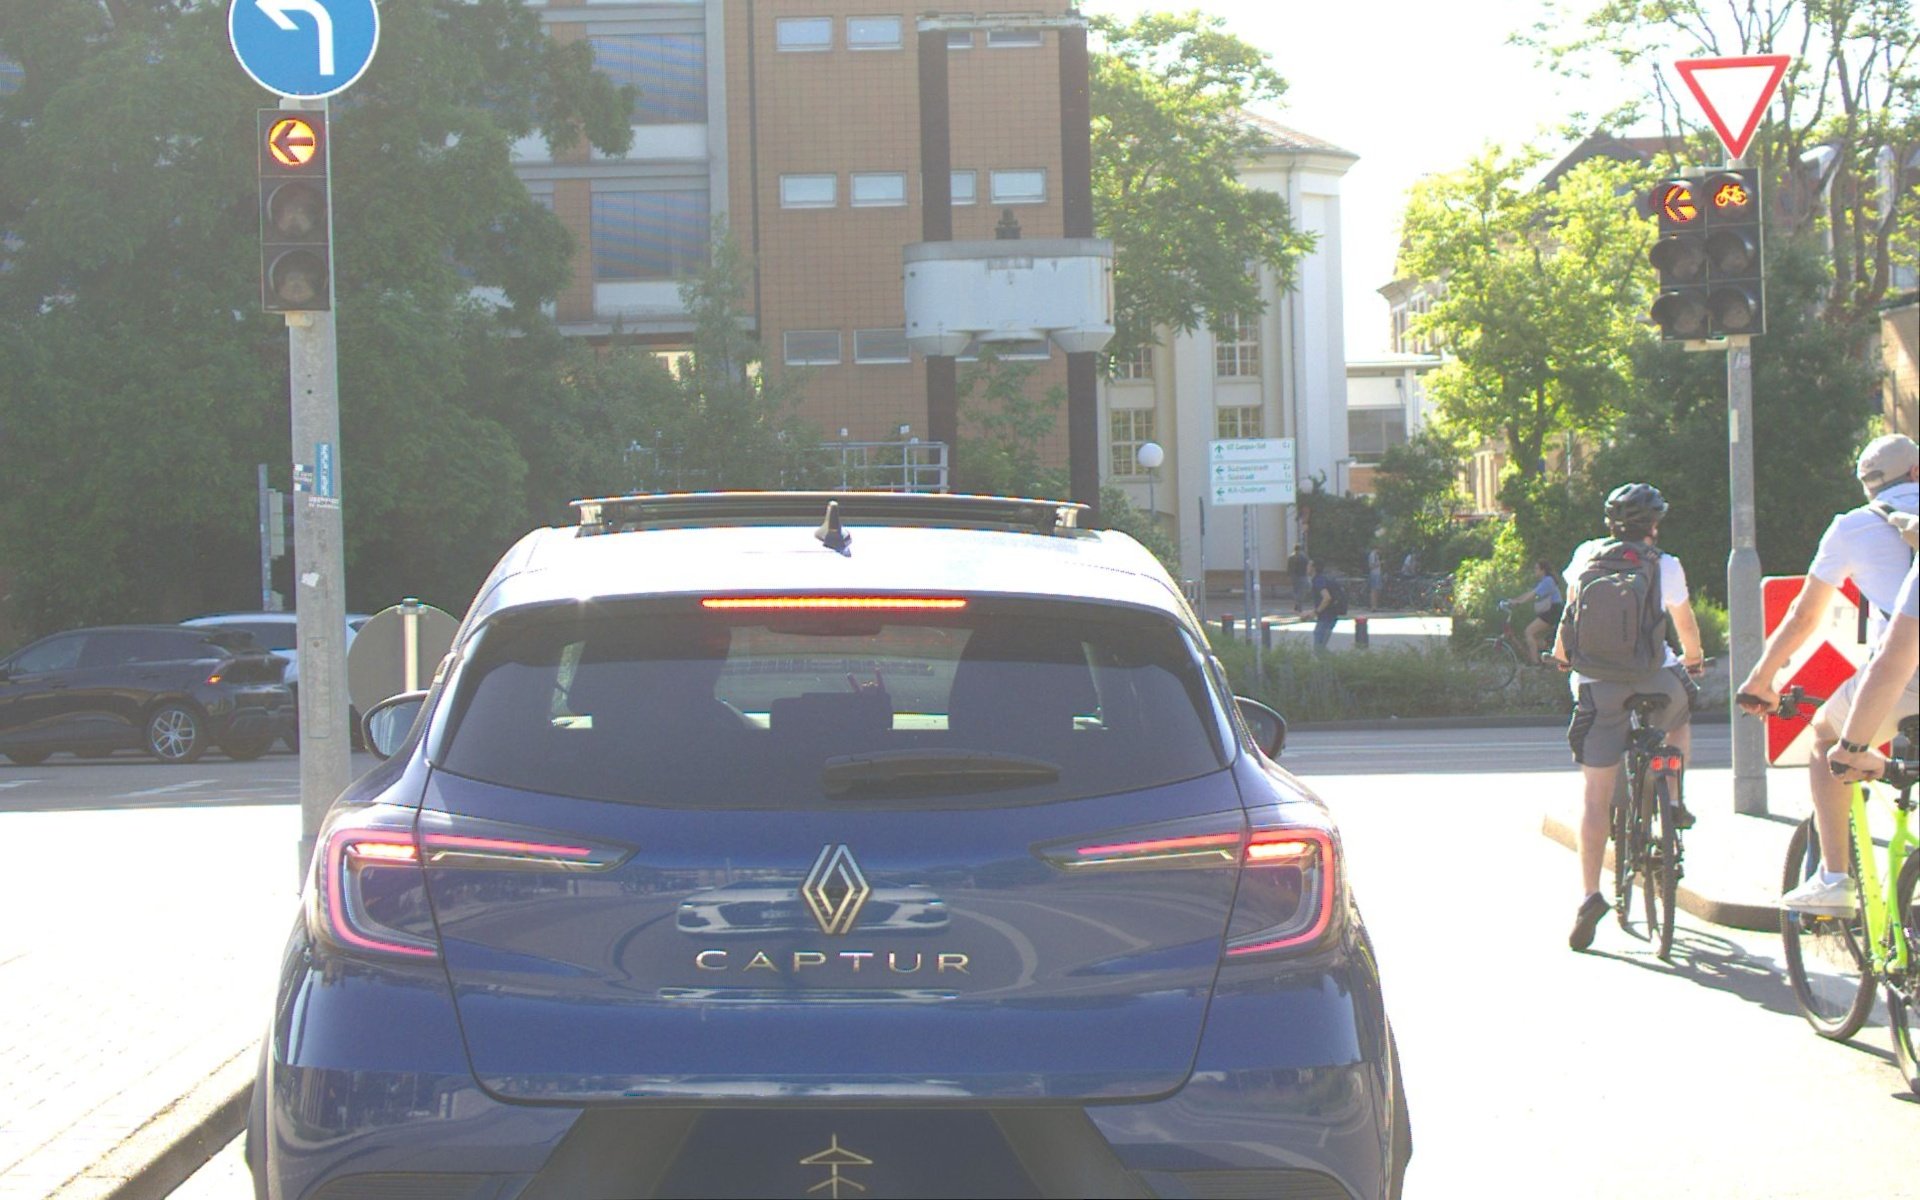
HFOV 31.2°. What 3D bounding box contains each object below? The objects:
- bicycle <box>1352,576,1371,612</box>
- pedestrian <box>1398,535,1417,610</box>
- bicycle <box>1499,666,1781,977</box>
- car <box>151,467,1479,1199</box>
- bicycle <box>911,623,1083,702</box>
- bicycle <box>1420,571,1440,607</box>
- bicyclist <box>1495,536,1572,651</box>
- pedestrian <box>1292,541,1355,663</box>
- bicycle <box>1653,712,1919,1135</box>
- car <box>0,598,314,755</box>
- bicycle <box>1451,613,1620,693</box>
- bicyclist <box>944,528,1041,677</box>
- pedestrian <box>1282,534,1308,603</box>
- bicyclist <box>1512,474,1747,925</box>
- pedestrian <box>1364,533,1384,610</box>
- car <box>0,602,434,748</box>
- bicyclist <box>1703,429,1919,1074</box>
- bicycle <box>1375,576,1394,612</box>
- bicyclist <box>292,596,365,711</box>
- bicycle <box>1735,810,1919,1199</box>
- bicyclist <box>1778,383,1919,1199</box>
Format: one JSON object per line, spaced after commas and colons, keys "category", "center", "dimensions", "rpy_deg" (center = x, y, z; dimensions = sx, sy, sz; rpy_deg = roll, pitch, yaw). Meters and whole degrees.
{"category": "bicycle", "center": [10.980, -0.178, 94.076], "dimensions": [0.405, 0.969, 1.683], "rpy_deg": [1, 1, 4]}
{"category": "pedestrian", "center": [12.027, -0.751, 92.391], "dimensions": [0.475, 2.007, 0.468], "rpy_deg": [-1, 1, 6]}
{"category": "bicycle", "center": [2.505, 0.781, 12.897], "dimensions": [0.739, 0.992, 2.173], "rpy_deg": [1, 1, 3]}
{"category": "car", "center": [-0.273, 0.613, 6.692], "dimensions": [1.803, 1.626, 4.000], "rpy_deg": [0, 1, -2]}
{"category": "bicycle", "center": [0.472, 0.800, 44.020], "dimensions": [2.082, 0.927, 0.696], "rpy_deg": [-2, 2, 11]}
{"category": "bicycle", "center": [12.906, -0.298, 94.412], "dimensions": [0.405, 0.969, 1.683], "rpy_deg": [1, 1, 4]}
{"category": "bicyclist", "center": [7.284, -0.085, 43.689], "dimensions": [0.937, 1.424, 0.598], "rpy_deg": [-1, 1, 9]}
{"category": "pedestrian", "center": [4.800, 0.023, 45.425], "dimensions": [0.737, 1.598, 0.598], "rpy_deg": [-1, 1, 12]}
{"category": "bicycle", "center": [2.606, 0.865, 9.817], "dimensions": [0.659, 0.999, 1.970], "rpy_deg": [1, 1, -6]}
{"category": "car", "center": [-9.491, 0.830, 37.613], "dimensions": [4.375, 1.626, 1.843], "rpy_deg": [-1, 1, 15]}
{"category": "bicycle", "center": [7.306, 0.668, 43.655], "dimensions": [2.077, 0.961, 0.598], "rpy_deg": [-1, 1, 10]}
{"category": "bicyclist", "center": [0.414, 0.028, 44.036], "dimensions": [1.102, 1.860, 0.653], "rpy_deg": [-1, 2, 10]}
{"category": "pedestrian", "center": [8.979, -0.841, 92.241], "dimensions": [0.623, 1.849, 0.563], "rpy_deg": [-1, 1, 1]}
{"category": "bicyclist", "center": [2.502, 0.354, 12.941], "dimensions": [0.726, 1.623, 0.969], "rpy_deg": [1, 0, 4]}
{"category": "pedestrian", "center": [10.955, -0.752, 91.052], "dimensions": [0.475, 2.007, 0.523], "rpy_deg": [-1, 1, 6]}
{"category": "car", "center": [-8.856, 0.886, 40.770], "dimensions": [4.827, 1.626, 1.843], "rpy_deg": [-1, 1, 14]}
{"category": "bicyclist", "center": [2.617, 0.406, 9.806], "dimensions": [0.645, 1.733, 1.067], "rpy_deg": [1, 0, -6]}
{"category": "bicycle", "center": [11.602, -0.169, 94.033], "dimensions": [0.405, 0.969, 1.683], "rpy_deg": [1, 1, 4]}
{"category": "bicyclist", "center": [-8.041, 0.675, 43.782], "dimensions": [0.737, 1.436, 0.598], "rpy_deg": [-2, 1, -27]}
{"category": "bicycle", "center": [2.222, 0.965, 7.252], "dimensions": [0.740, 0.893, 1.978], "rpy_deg": [1, 1, 1]}
{"category": "bicyclist", "center": [2.226, 0.407, 7.241], "dimensions": [0.751, 1.663, 1.016], "rpy_deg": [1, 0, 1]}
